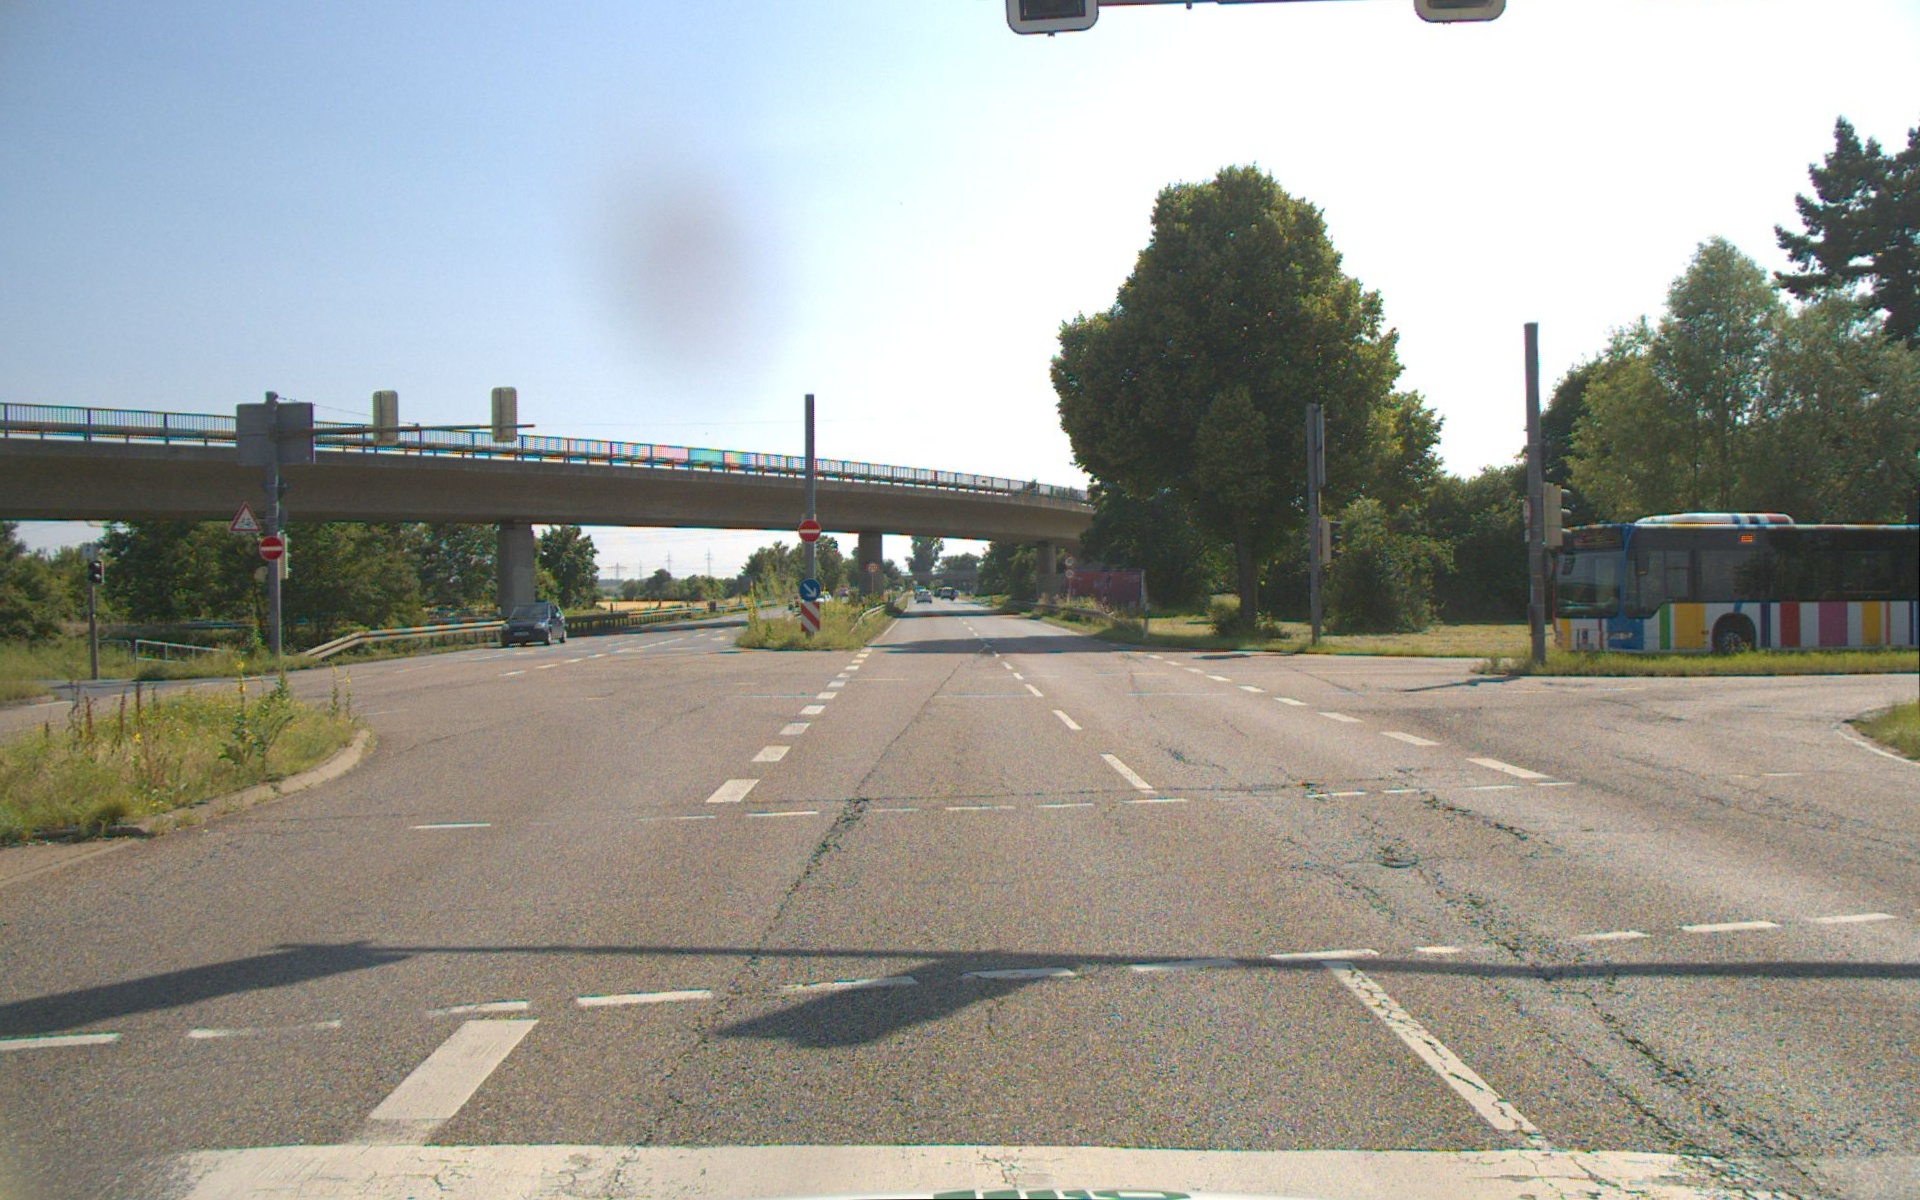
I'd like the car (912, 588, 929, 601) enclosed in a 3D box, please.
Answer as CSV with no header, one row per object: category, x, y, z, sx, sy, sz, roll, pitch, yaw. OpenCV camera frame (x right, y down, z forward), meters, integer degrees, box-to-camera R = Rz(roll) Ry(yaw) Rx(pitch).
car,-4.401,-0.610,185.080,1.813,1.486,4.000,0,0,0

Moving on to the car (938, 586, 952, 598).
car,-2.067,-1.090,232.865,1.835,1.668,4.000,-1,0,0

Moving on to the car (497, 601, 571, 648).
car,-14.810,0.827,57.678,1.582,1.467,3.775,-3,0,-1

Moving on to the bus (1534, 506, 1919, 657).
bus,18.470,-0.486,36.006,11.745,2.927,2.929,-2,0,-16

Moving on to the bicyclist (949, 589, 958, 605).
bicyclist,-0.827,-0.356,209.188,0.987,1.919,1.326,-2,0,-2
